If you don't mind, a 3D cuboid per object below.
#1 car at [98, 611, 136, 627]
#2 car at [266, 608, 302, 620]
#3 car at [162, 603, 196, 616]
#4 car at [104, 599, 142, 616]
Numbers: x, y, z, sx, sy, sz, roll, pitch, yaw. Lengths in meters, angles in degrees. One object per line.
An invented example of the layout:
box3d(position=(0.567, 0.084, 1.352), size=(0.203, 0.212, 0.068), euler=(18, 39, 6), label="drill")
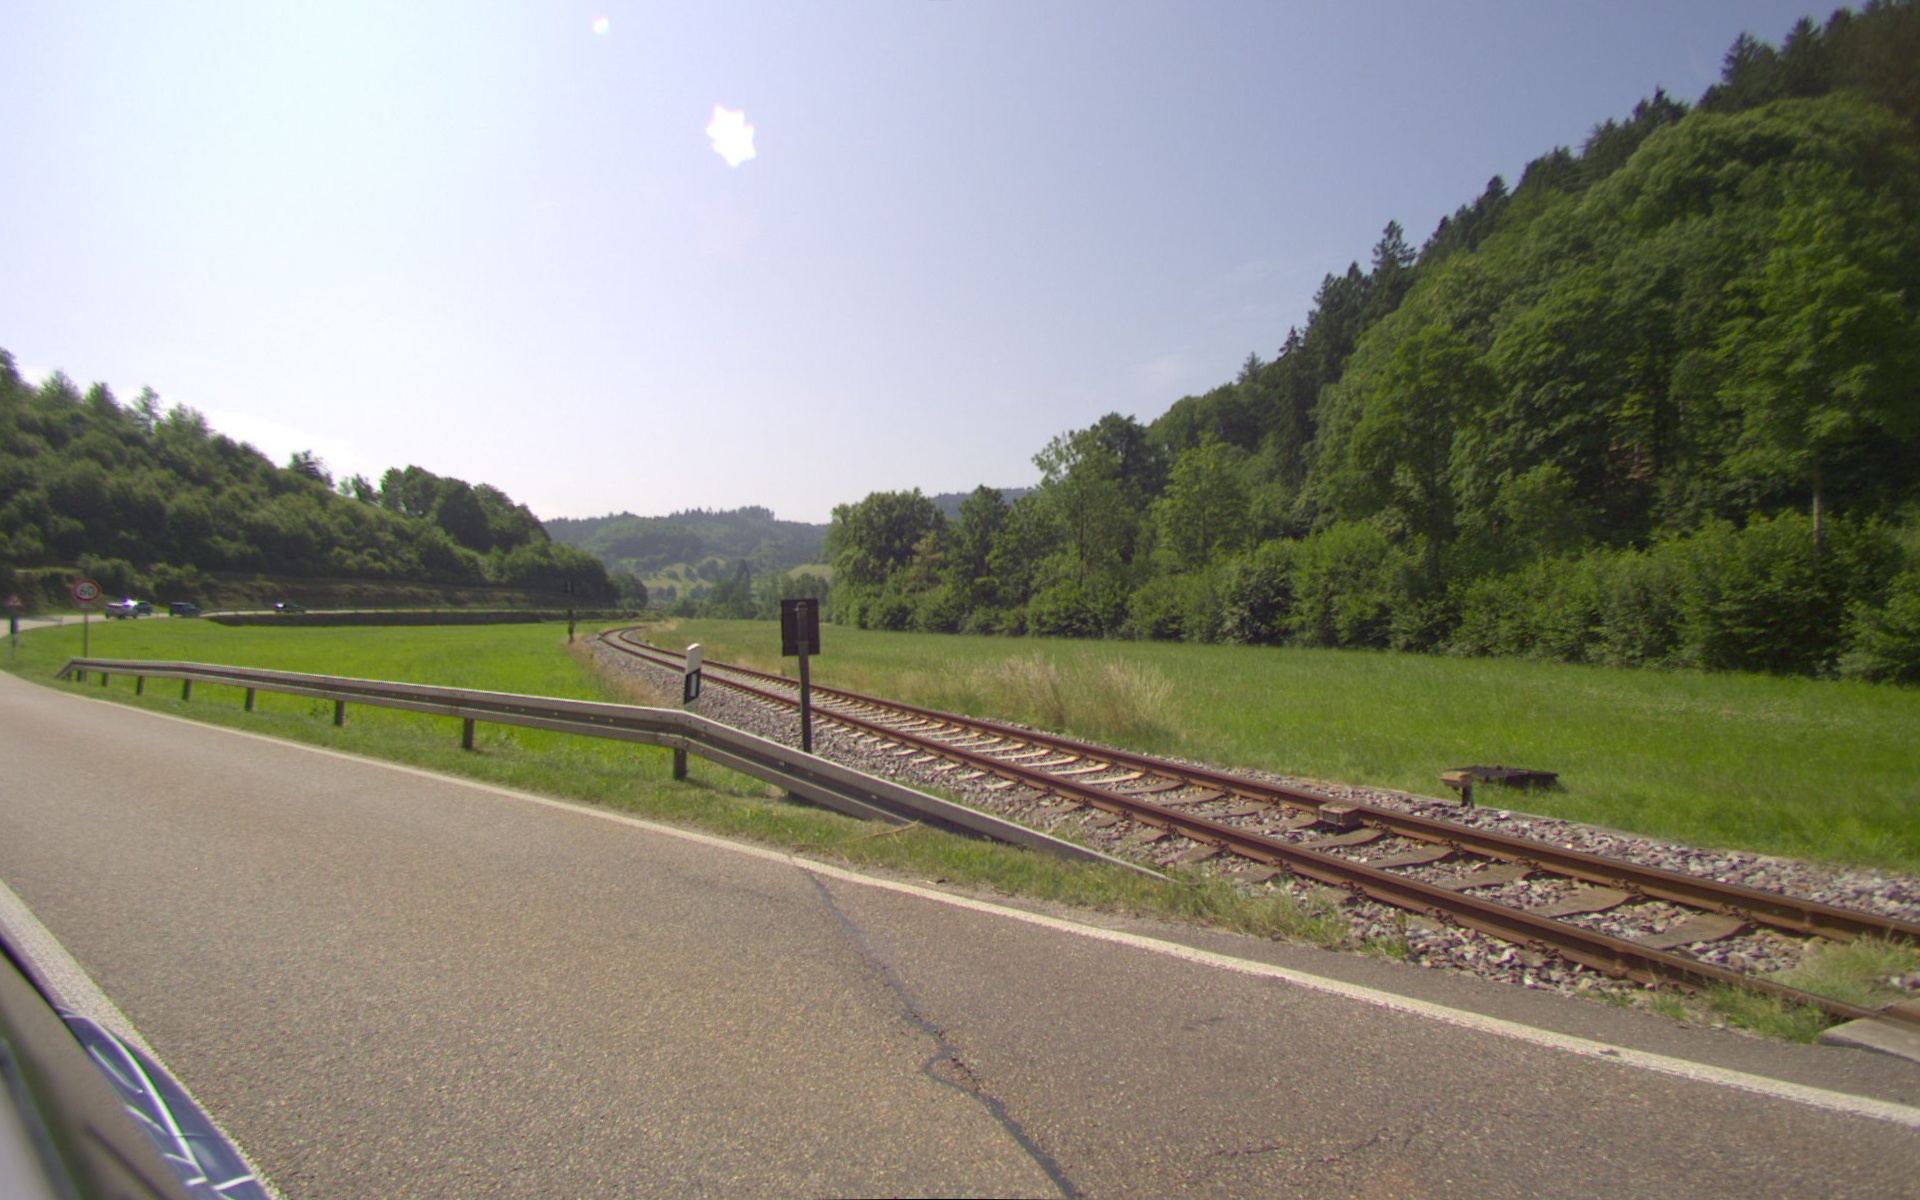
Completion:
box3d(position=(-95.779, 2.175, 115.022), size=(1.888, 1.727, 4.172), euler=(2, -2, -20), label="car")
box3d(position=(-100.095, 2.029, 149.947), size=(1.899, 1.482, 4.501), euler=(-5, -3, 6), label="car")
box3d(position=(-98.997, 1.256, 128.338), size=(1.840, 1.636, 4.523), euler=(0, -1, -15), label="car")
box3d(position=(-101.507, 0.944, 122.751), size=(1.967, 2.029, 4.010), euler=(1, -2, -13), label="car")
